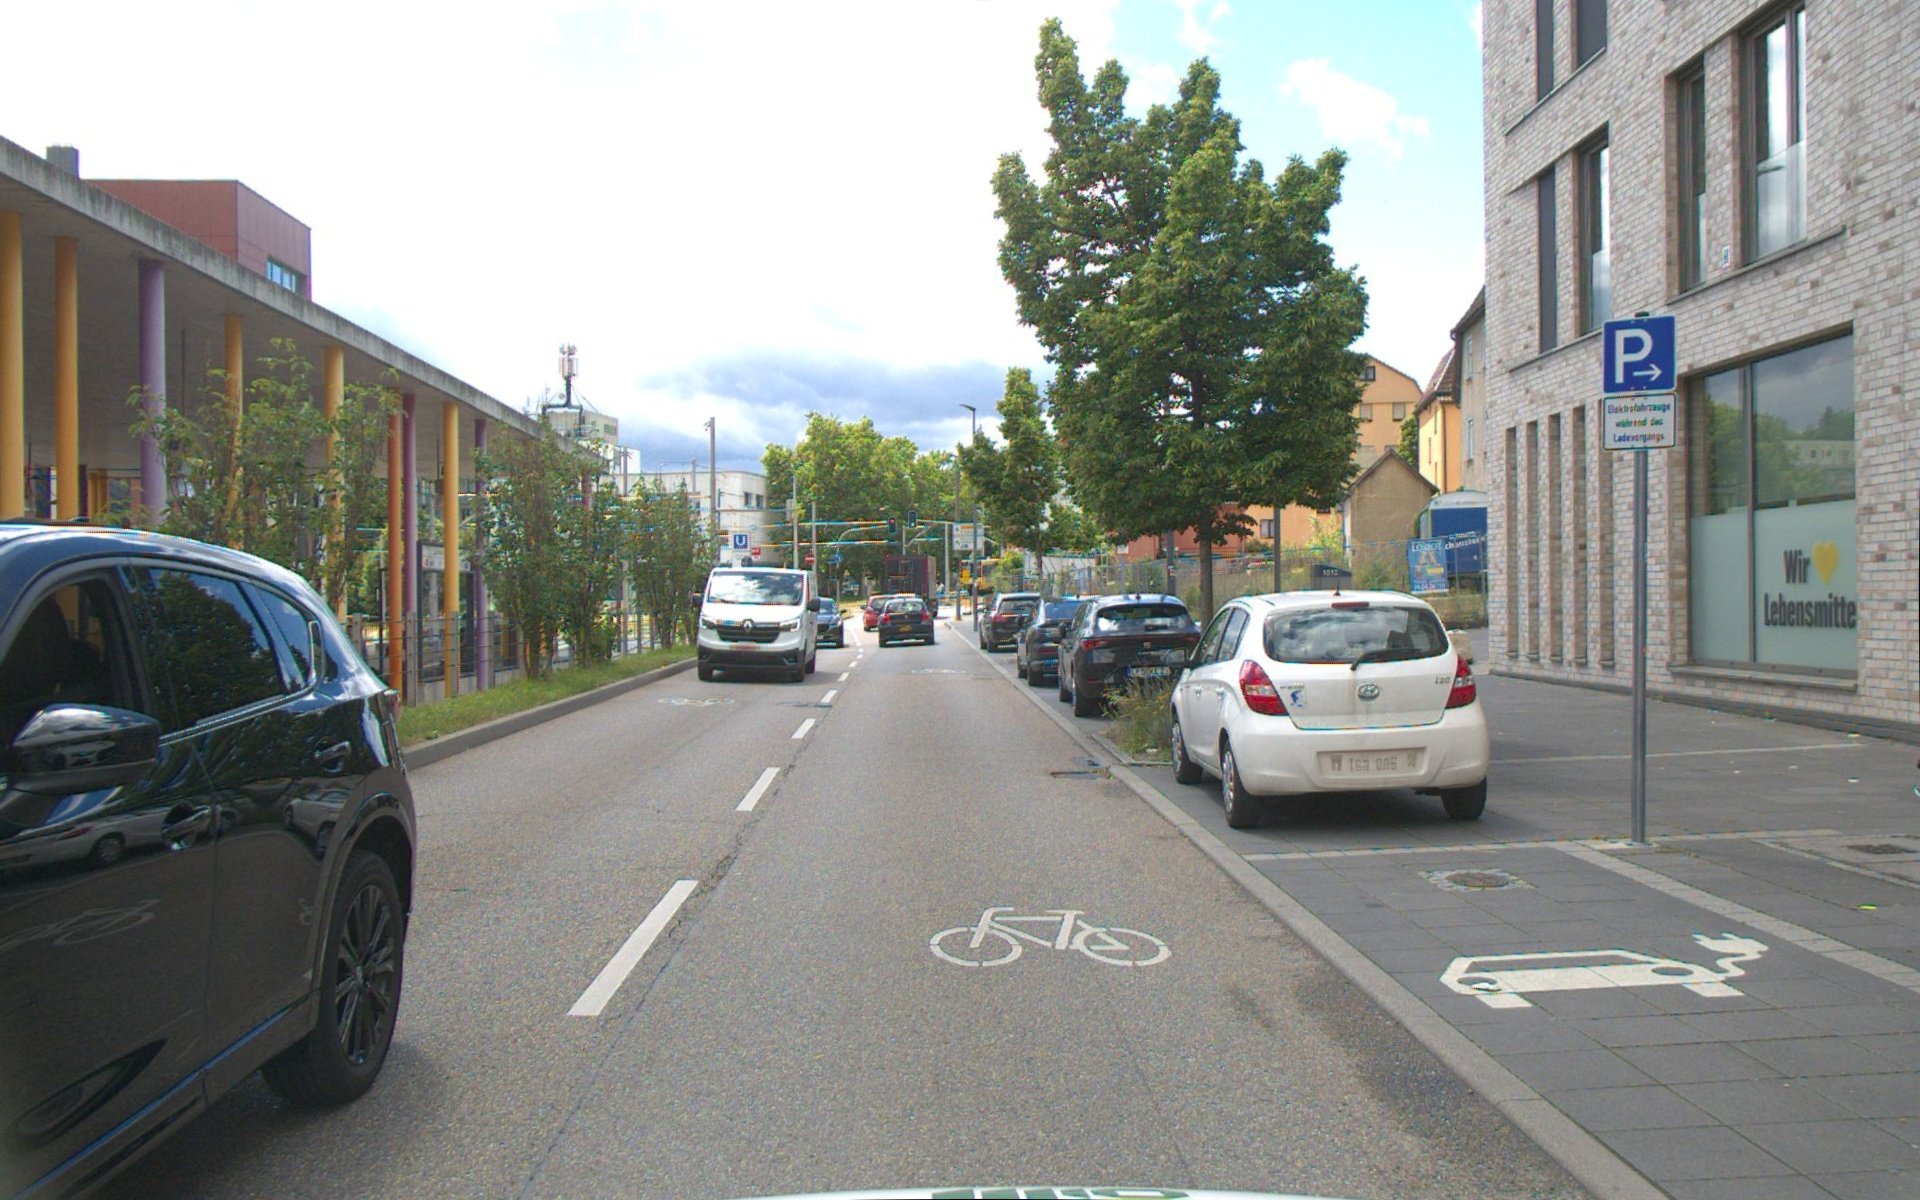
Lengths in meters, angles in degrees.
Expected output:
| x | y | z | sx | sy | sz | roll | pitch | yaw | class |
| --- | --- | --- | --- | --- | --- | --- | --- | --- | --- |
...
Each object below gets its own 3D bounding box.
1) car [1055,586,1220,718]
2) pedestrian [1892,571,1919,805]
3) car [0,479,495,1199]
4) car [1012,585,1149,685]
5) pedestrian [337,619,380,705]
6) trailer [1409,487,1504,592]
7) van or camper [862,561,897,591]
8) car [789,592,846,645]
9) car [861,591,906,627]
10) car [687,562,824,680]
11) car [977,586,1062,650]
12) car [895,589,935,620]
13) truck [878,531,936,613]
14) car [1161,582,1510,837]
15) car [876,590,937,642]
| x | y | z | sx | sy | sz | roll | pitch | yaw | class |
| --- | --- | --- | --- | --- | --- | --- | --- | --- | --- |
| 2.206 | 0.605 | 21.533 | 1.658 | 1.486 | 4.146 | -2 | 0 | 0 | car |
| 6.423 | 0.557 | 10.487 | 0.594 | 1.498 | 0.791 | -2 | 0 | 6 | pedestrian |
| -2.493 | 0.619 | 3.592 | 1.881 | 1.633 | 4.623 | 1 | 0 | -3 | car |
| 1.949 | 0.539 | 28.055 | 1.827 | 1.476 | 4.642 | -2 | 0 | -1 | car |
| -11.815 | 1.207 | 32.498 | 0.616 | 1.642 | 0.636 | 1 | 1 | -1 | pedestrian |
| 16.194 | -1.901 | 54.245 | 2.353 | 3.176 | 6.166 | -2 | 0 | 12 | trailer |
| -8.366 | -2.495 | 172.798 | 2.128 | 2.855 | 6.074 | 0 | -2 | 12 | van or camper |
| -4.514 | 0.563 | 52.236 | 1.691 | 1.548 | 4.250 | 1 | 0 | -5 | car |
| -3.211 | 0.356 | 68.789 | 1.679 | 1.417 | 3.804 | -1 | 1 | -6 | car |
| -3.606 | 0.352 | 30.003 | 1.963 | 1.951 | 5.063 | 1 | 0 | -2 | car |
| 1.469 | 0.423 | 42.553 | 1.746 | 1.477 | 4.473 | -2 | 0 | -3 | car |
| -2.379 | 0.242 | 86.072 | 1.851 | 1.491 | 4.065 | -2 | -1 | -5 | car |
| -3.105 | -1.583 | 99.750 | 3.137 | 4.615 | 9.027 | 0 | -1 | 0 | truck |
| 2.549 | 0.667 | 12.104 | 1.658 | 1.509 | 3.797 | -2 | 0 | 0 | car |
| -1.685 | 0.478 | 51.162 | 1.692 | 1.482 | 3.805 | -1 | 1 | -5 | car |
